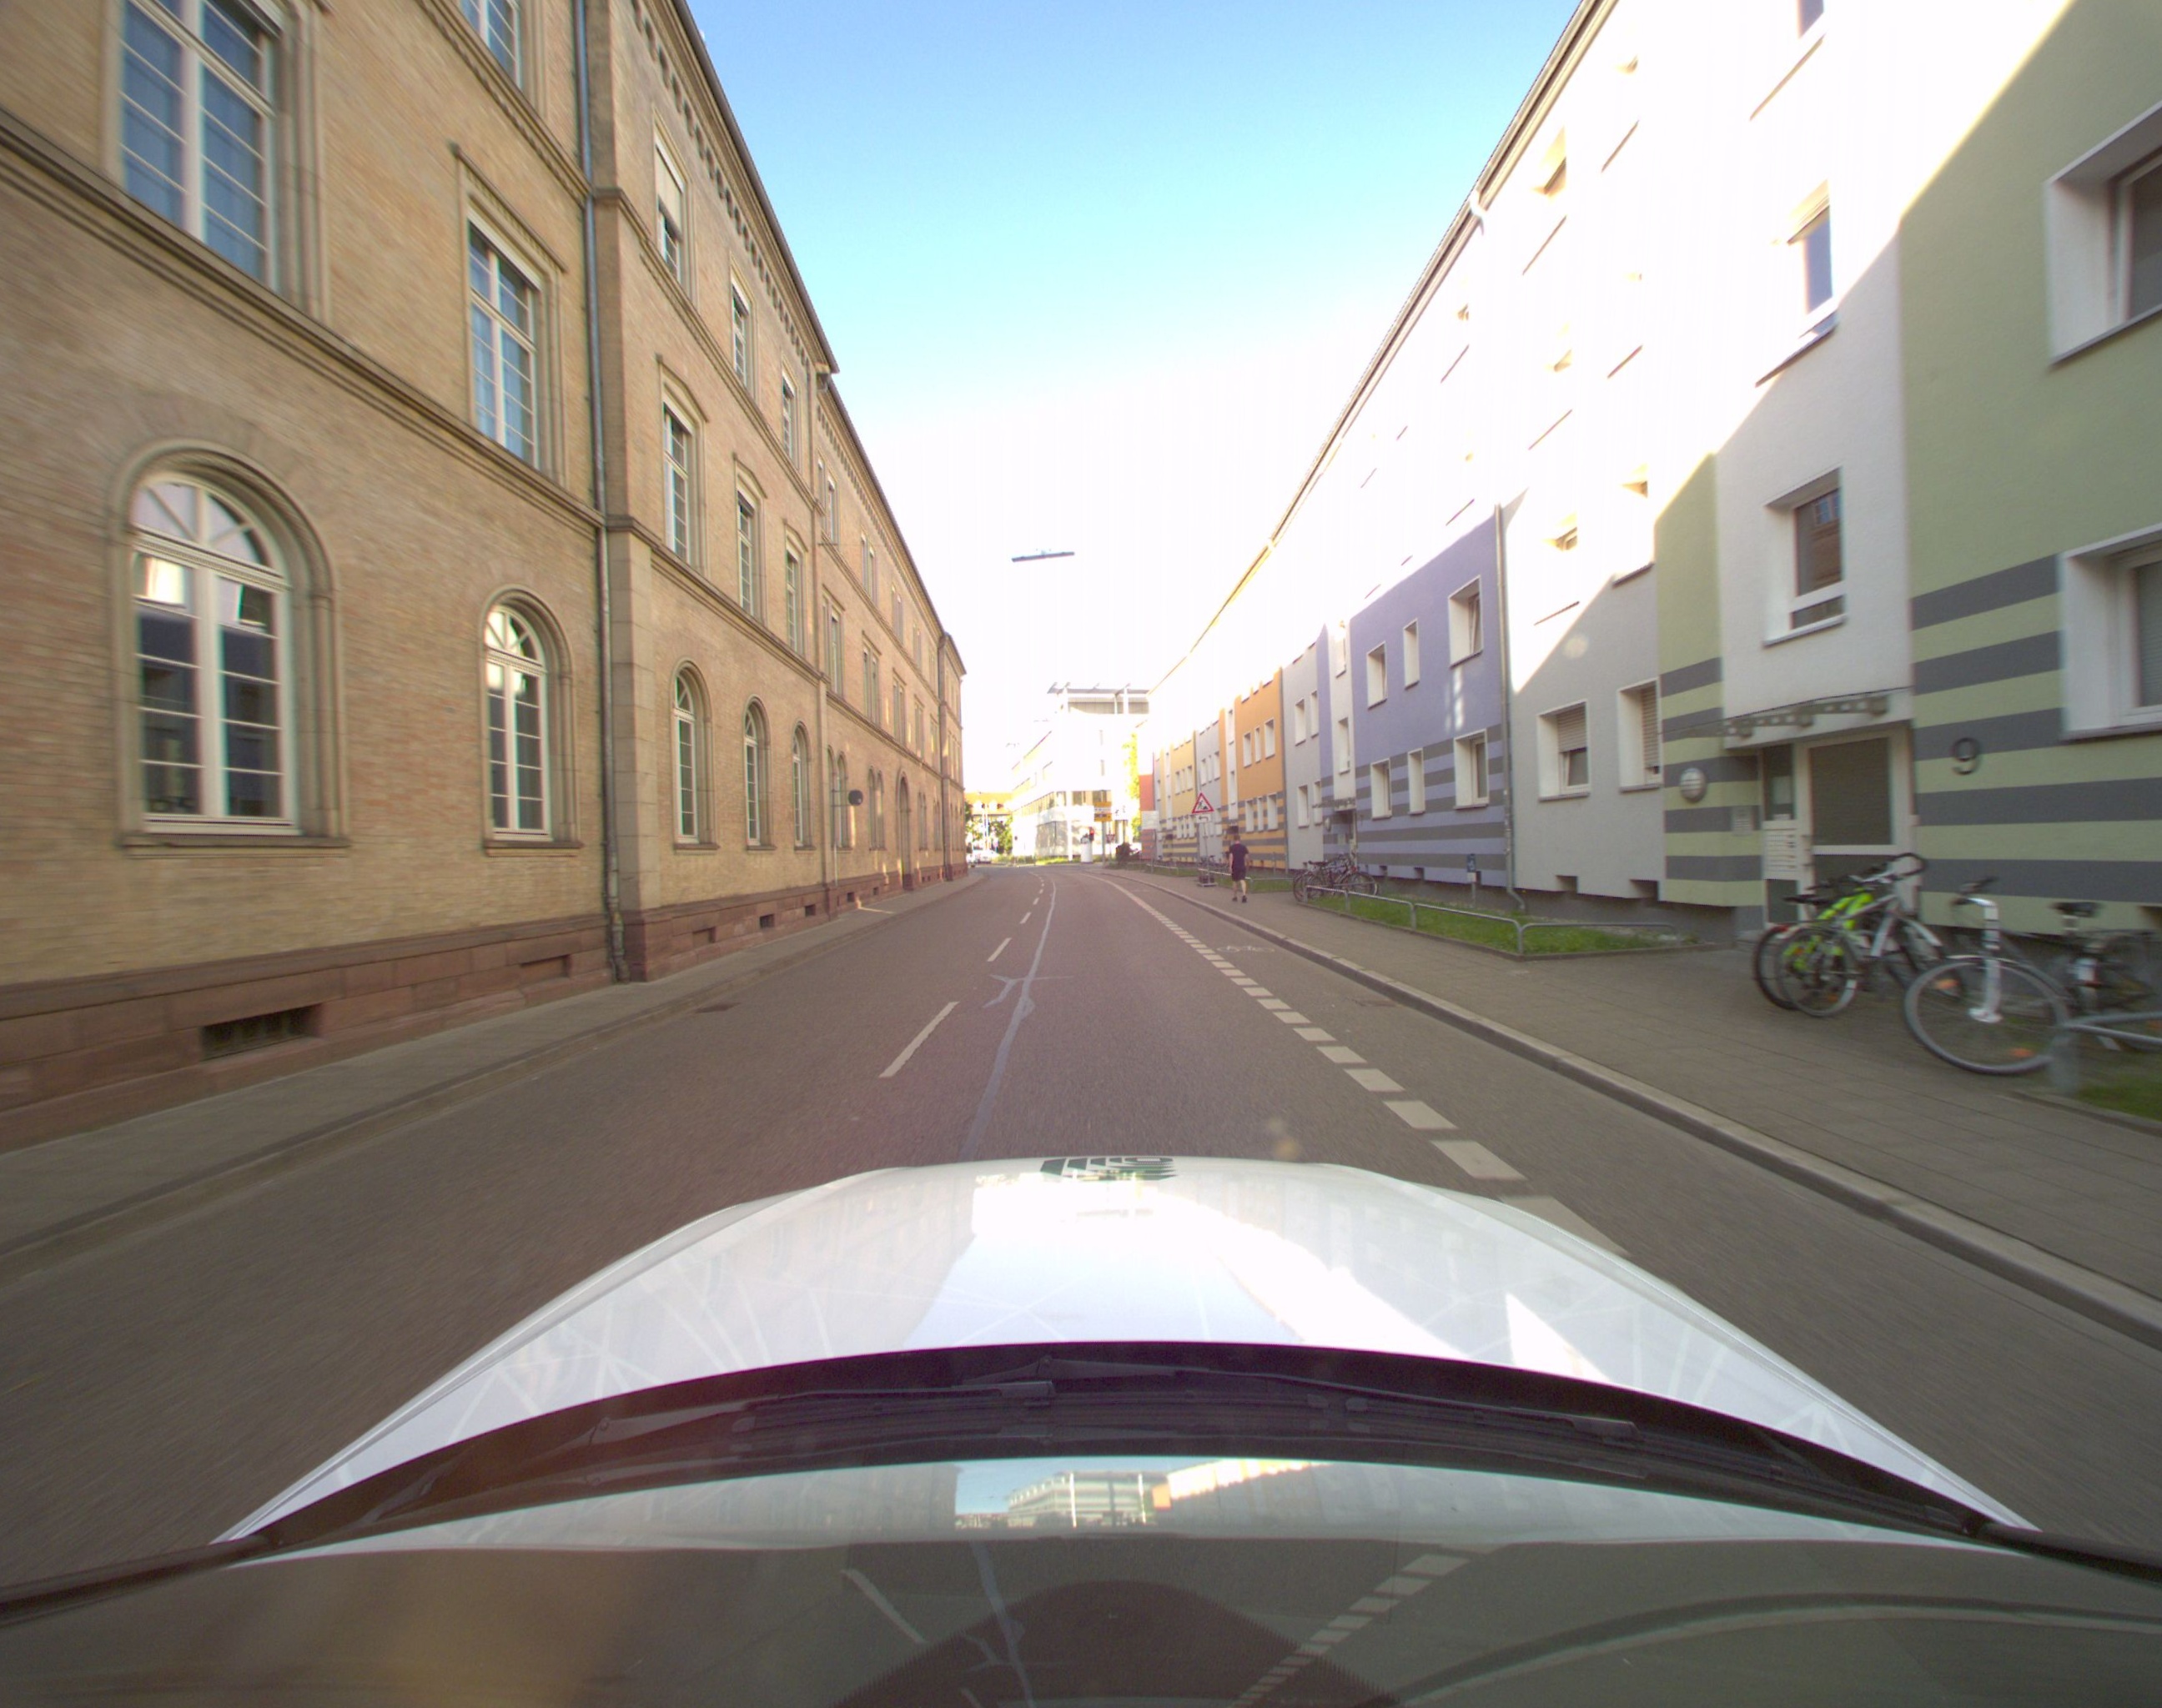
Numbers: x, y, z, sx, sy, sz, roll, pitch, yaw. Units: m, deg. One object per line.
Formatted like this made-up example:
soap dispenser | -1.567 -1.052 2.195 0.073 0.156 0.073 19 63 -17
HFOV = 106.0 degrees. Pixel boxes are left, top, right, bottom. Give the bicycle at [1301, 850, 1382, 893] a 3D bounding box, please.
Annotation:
bicycle | 6.246 0.419 19.567 1.743 0.946 0.551 -3 0 -1

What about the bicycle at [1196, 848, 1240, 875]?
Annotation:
bicycle | 5.973 0.321 35.635 1.806 1.137 0.551 -2 0 -3

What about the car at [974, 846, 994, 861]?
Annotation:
car | -14.093 0.005 118.105 2.427 2.112 5.208 0 0 -13

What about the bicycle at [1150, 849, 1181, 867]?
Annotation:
bicycle | 5.143 0.259 49.822 1.751 1.004 0.612 -3 0 -6

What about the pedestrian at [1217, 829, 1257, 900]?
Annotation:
pedestrian | 4.039 0.263 21.206 0.694 1.760 1.188 -4 0 -1

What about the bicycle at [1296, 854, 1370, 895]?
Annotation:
bicycle | 6.412 0.521 20.745 1.743 0.946 0.325 -3 0 0

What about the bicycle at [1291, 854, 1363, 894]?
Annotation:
bicycle | 6.391 0.515 21.151 1.743 0.946 0.335 -3 0 -1

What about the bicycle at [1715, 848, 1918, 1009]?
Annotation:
bicycle | 6.026 0.584 6.673 1.602 1.141 0.236 -5 1 -9

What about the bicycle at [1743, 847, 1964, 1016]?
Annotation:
bicycle | 6.073 0.582 6.402 1.640 1.141 0.282 -5 1 -9

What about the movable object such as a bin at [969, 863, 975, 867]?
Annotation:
movable object such as a bin | -12.001 1.209 89.460 0.591 0.480 0.284 -2 0 -17

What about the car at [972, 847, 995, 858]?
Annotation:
car | -18.636 -0.292 155.356 4.005 1.915 1.905 0 -1 -24

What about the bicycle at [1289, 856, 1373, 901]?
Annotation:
bicycle | 5.802 0.561 18.933 1.743 0.946 0.551 -3 0 -1

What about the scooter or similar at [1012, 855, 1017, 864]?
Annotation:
scooter or similar | -8.088 0.686 98.994 0.325 1.059 1.137 -2 0 -12

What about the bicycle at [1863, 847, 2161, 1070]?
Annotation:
bicycle | 5.956 0.603 5.004 1.743 1.141 0.552 -5 1 -1
